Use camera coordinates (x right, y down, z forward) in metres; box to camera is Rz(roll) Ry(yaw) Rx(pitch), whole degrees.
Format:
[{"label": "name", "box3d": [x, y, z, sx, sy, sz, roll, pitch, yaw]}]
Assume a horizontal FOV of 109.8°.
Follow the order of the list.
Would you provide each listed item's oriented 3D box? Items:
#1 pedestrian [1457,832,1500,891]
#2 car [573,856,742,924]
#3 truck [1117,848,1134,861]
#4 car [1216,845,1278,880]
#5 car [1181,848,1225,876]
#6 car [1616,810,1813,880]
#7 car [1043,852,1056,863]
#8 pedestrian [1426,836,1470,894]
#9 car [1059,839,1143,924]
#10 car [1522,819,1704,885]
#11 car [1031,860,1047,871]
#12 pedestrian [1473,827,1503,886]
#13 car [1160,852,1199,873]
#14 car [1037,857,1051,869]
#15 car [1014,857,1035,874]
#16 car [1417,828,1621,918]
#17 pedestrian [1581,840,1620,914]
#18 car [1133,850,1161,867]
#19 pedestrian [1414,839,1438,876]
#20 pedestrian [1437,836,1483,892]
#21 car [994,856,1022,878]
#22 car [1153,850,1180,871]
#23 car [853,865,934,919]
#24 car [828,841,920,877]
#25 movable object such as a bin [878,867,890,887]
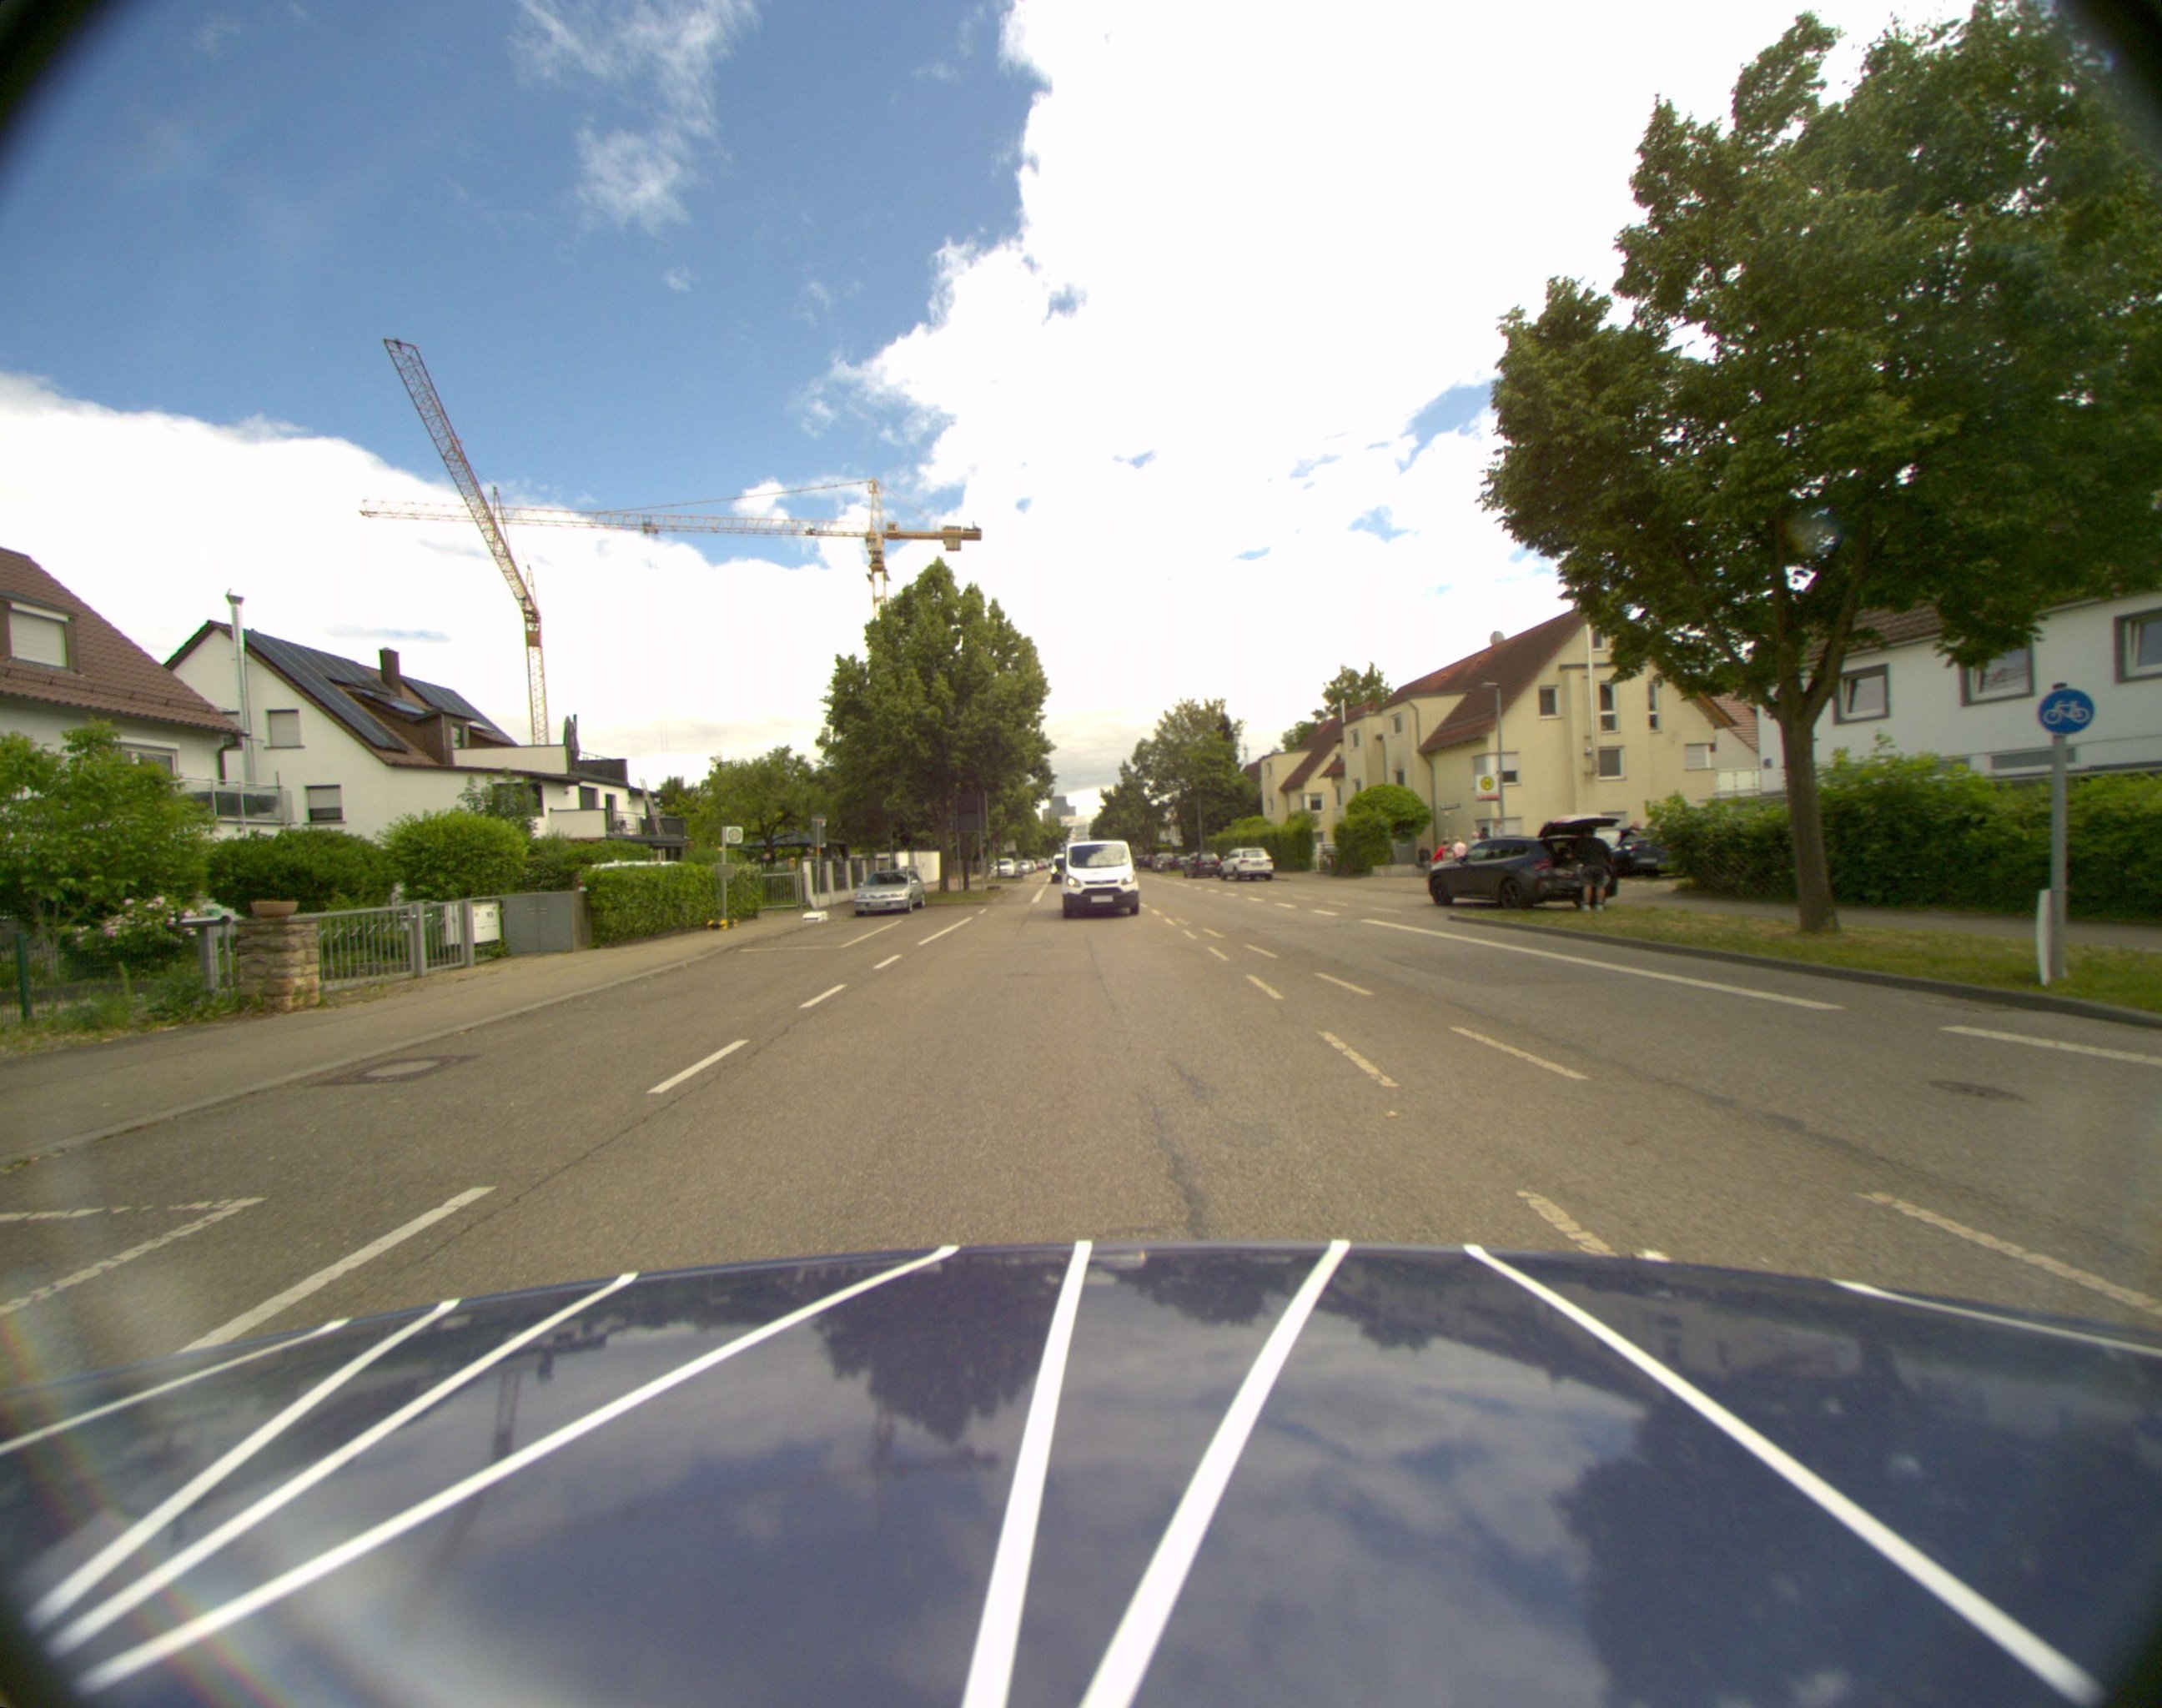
[{"label": "pedestrian", "box3d": [11.645, 0.216, 22.269, 0.789, 1.654, 0.591, -6, 1, -3]}, {"label": "car", "box3d": [-12.947, 1.071, 23.456, 3.998, 1.812, 1.999, -3, 0, -4]}, {"label": "truck", "box3d": [7.474, 0.014, 128.098, 2.429, 2.031, 5.994, -3, 0, 0]}, {"label": "car", "box3d": [8.495, 0.404, 39.194, 1.826, 1.624, 4.584, -2, 0, -4]}, {"label": "car", "box3d": [7.366, 0.485, 46.230, 1.682, 1.543, 4.271, -3, 0, -3]}, {"label": "car", "box3d": [17.017, -0.241, 20.501, 3.999, 1.474, 1.790, -5, 0, -8]}, {"label": "car", "box3d": [-5.643, 0.574, 135.896, 1.998, 1.805, 4.826, -4, 1, 1]}, {"label": "pedestrian", "box3d": [11.209, 0.327, 23.216, 0.789, 1.654, 0.754, -7, 1, -9]}, {"label": "car", "box3d": [0.528, 0.641, 21.239, 1.998, 2.002, 5.188, -2, 1, 1]}, {"label": "car", "box3d": [15.575, -0.072, 22.294, 4.530, 1.545, 2.033, -4, 1, -19]}, {"label": "car", "box3d": [-5.885, 1.626, 107.912, 1.864, 1.405, 4.443, -5, 0, 1]}, {"label": "pedestrian", "box3d": [12.725, 0.067, 23.780, 0.505, 1.795, 0.671, -3, 1, -2]}, {"label": "car", "box3d": [7.593, 0.637, 58.937, 1.999, 1.476, 4.888, -2, 0, -4]}, {"label": "car", "box3d": [-5.721, 1.359, 117.461, 1.820, 1.506, 4.679, -4, 1, 0]}, {"label": "car", "box3d": [-6.085, 1.228, 81.703, 1.866, 1.602, 4.685, -4, 1, -1]}, {"label": "car", "box3d": [9.794, 0.378, 17.484, 1.729, 1.715, 4.563, -3, 0, -4]}, {"label": "pedestrian", "box3d": [10.277, 0.447, 15.039, 0.553, 1.427, 0.497, -2, 1, 29]}, {"label": "car", "box3d": [6.731, 0.474, 78.407, 2.101, 1.637, 5.037, -2, 0, -3]}, {"label": "pedestrian", "box3d": [14.901, 0.161, 32.828, 0.672, 1.551, 0.836, -2, 1, 4]}, {"label": "pedestrian", "box3d": [11.922, 0.310, 23.898, 0.789, 1.654, 0.881, -6, 1, -9]}, {"label": "car", "box3d": [-5.912, 1.014, 62.137, 1.905, 1.633, 4.115, -3, 1, -2]}, {"label": "car", "box3d": [7.214, 0.538, 64.469, 1.723, 1.604, 3.909, -2, 0, -2]}, {"label": "car", "box3d": [-6.070, 1.180, 25.074, 1.616, 1.369, 4.385, -3, 1, -1]}, {"label": "car", "box3d": [-12.817, 0.293, 47.354, 5.200, 1.893, 2.047, -3, 1, -9]}, {"label": "movable object such as a bin", "box3d": [-9.811, 1.145, 37.912, 0.437, 1.016, 0.454, -2, 1, -1]}]
